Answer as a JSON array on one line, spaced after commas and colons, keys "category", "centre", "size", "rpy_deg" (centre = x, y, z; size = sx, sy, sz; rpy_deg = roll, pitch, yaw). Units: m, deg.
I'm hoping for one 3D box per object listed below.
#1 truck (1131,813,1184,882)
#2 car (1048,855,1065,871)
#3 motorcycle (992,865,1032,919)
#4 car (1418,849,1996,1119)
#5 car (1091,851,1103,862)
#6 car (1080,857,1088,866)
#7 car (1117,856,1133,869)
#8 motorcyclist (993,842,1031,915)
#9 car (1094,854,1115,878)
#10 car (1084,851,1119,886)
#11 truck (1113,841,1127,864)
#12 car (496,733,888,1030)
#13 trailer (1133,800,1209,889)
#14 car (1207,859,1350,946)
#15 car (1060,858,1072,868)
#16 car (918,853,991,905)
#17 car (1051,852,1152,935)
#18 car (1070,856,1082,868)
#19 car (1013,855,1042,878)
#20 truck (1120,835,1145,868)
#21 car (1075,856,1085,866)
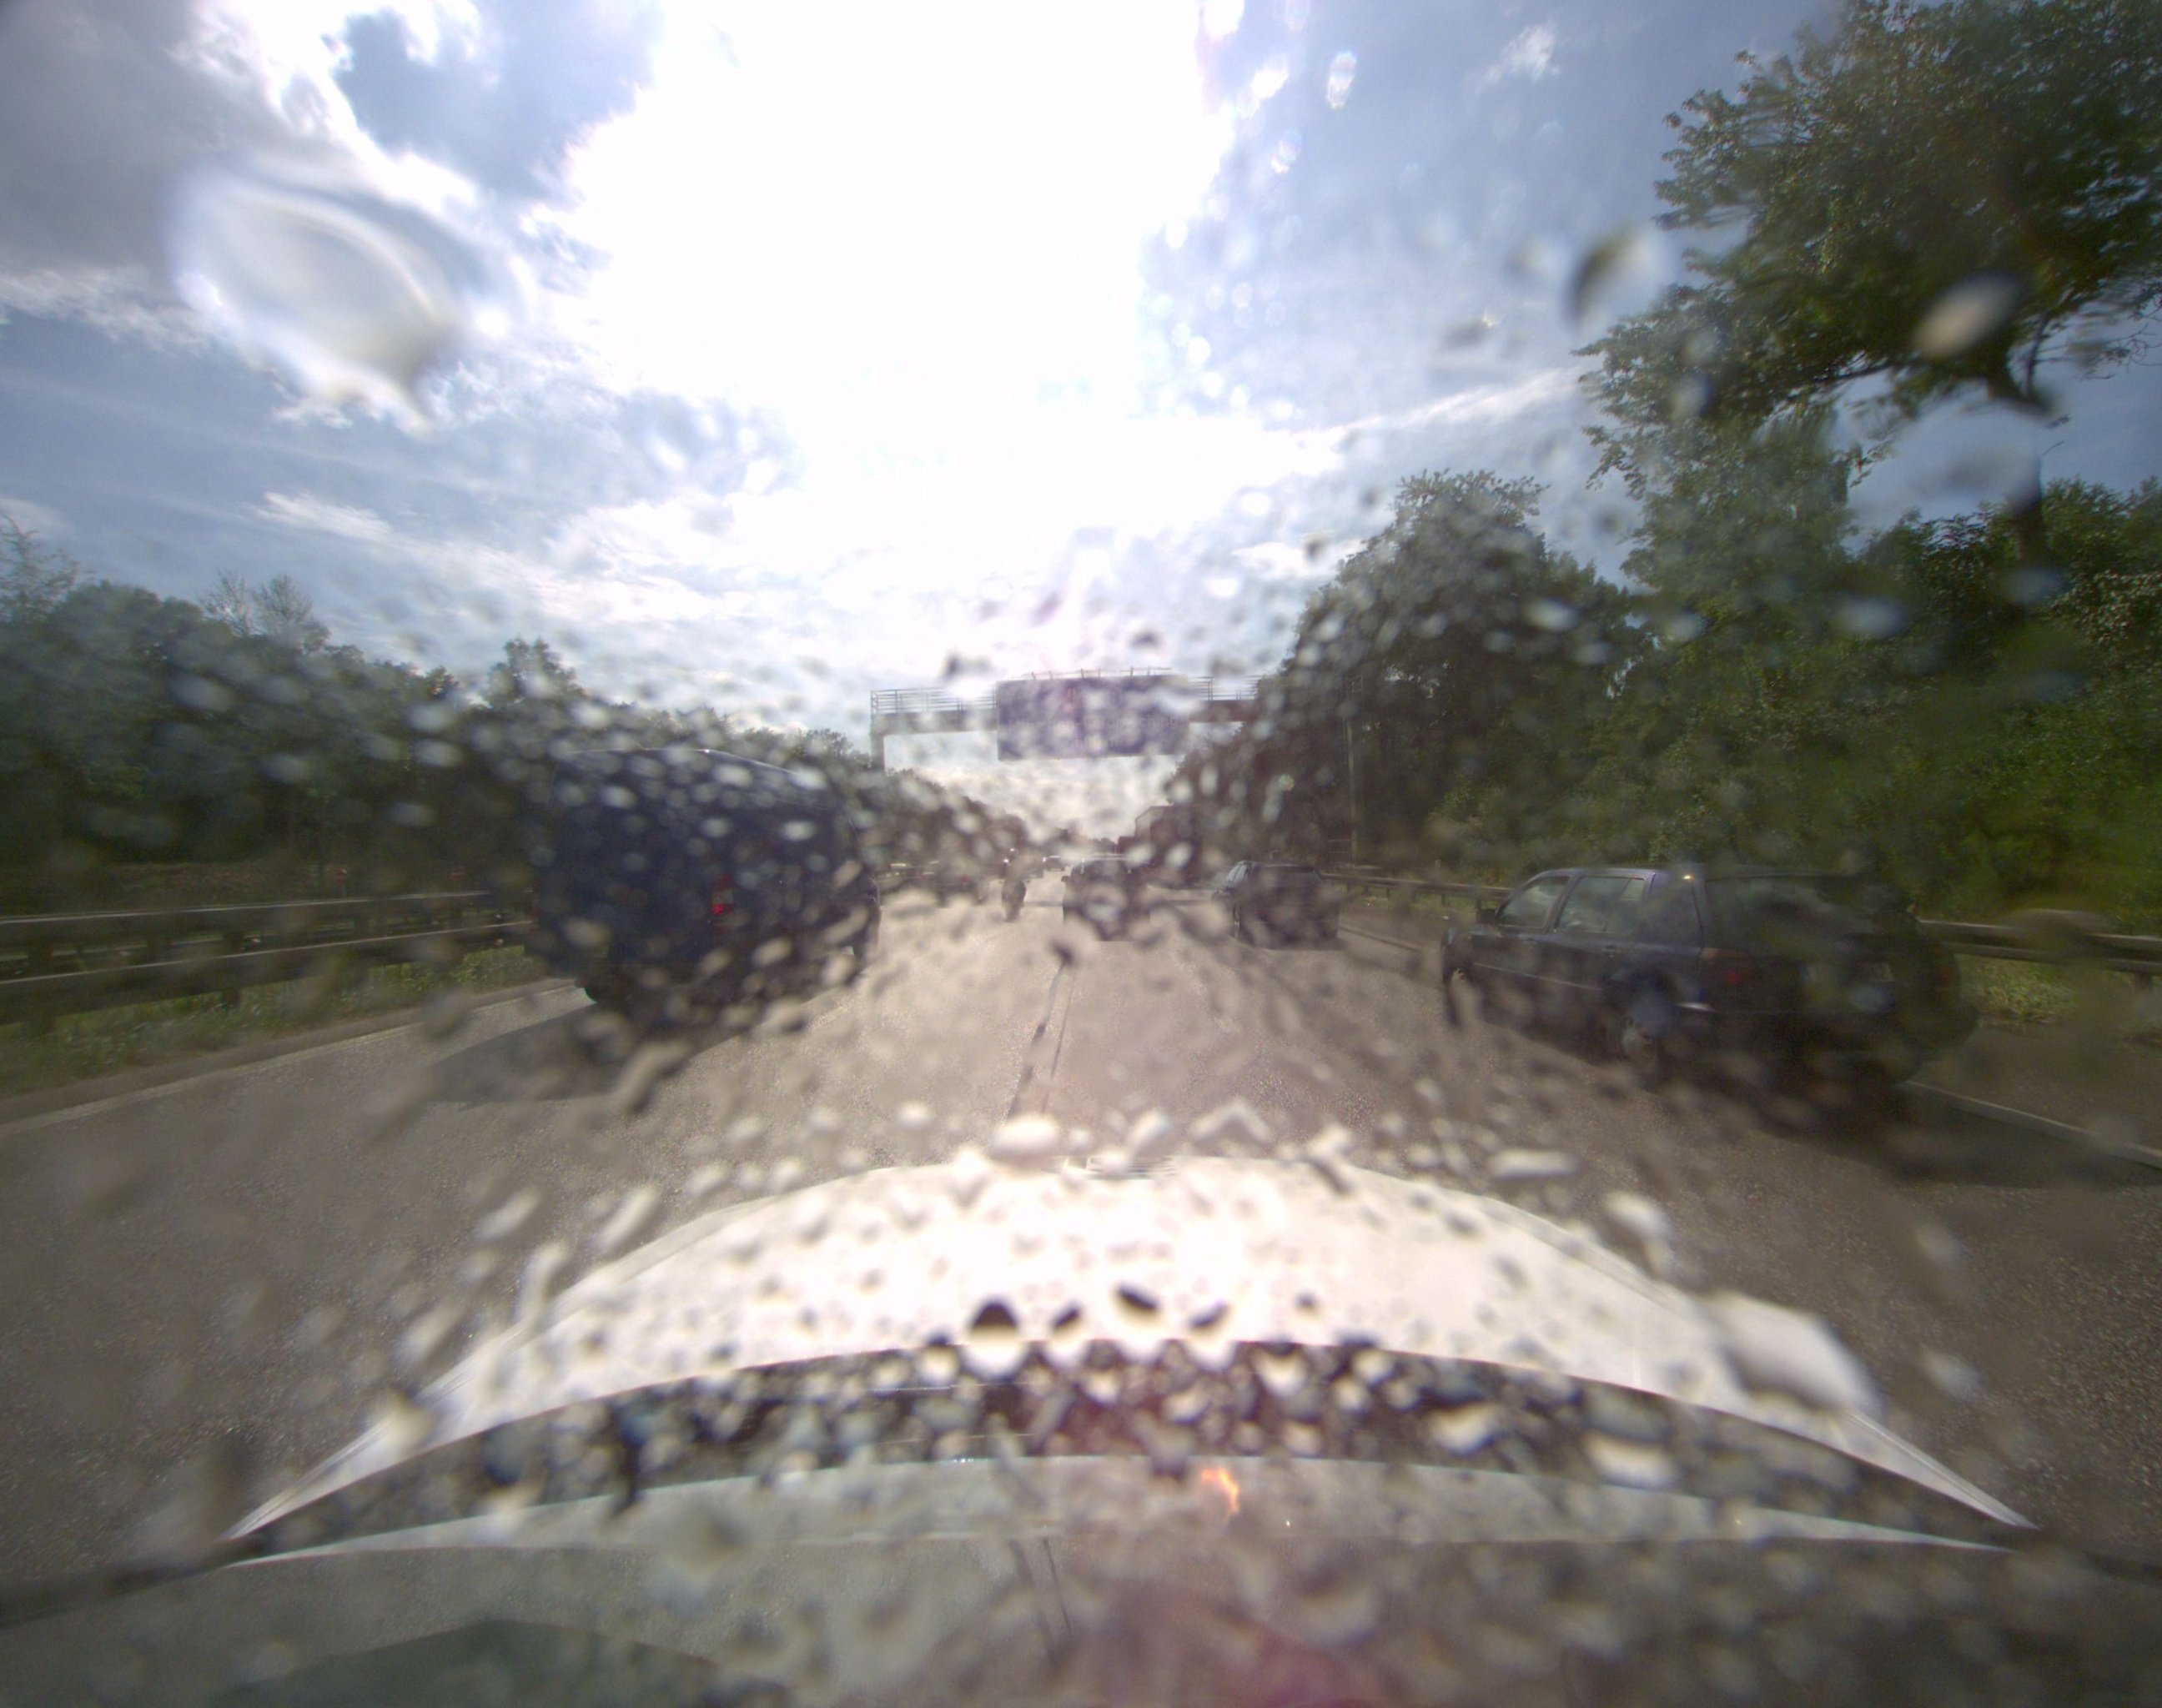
[{"category": "truck", "centre": [5.005, -0.409, 54.223], "size": [3.041, 4.325, 5.886], "rpy_deg": [-1, 0, 1]}, {"category": "car", "centre": [-2.691, 0.970, 89.155], "size": [1.669, 1.597, 3.437], "rpy_deg": [-1, 0, 1]}, {"category": "motorcycle", "centre": [-1.717, 0.918, 20.454], "size": [0.817, 1.263, 2.117], "rpy_deg": [-1, 0, 0]}, {"category": "car", "centre": [4.248, 0.726, 6.384], "size": [1.645, 1.456, 3.744], "rpy_deg": [-1, 0, 0]}, {"category": "car", "centre": [2.302, 0.309, 113.470], "size": [1.626, 1.490, 3.437], "rpy_deg": [-1, 0, 1]}, {"category": "car", "centre": [0.734, 1.750, 192.349], "size": [1.986, 2.014, 4.001], "rpy_deg": [-1, -1, 1]}, {"category": "car", "centre": [5.160, 0.994, 95.522], "size": [1.669, 1.490, 3.437], "rpy_deg": [-1, 0, 1]}, {"category": "motorcyclist", "centre": [-1.713, 0.608, 20.479], "size": [0.819, 1.761, 1.390], "rpy_deg": [-1, -1, 0]}, {"category": "car", "centre": [1.955, 0.951, 68.407], "size": [1.669, 1.936, 3.774], "rpy_deg": [-1, 0, 1]}, {"category": "car", "centre": [1.213, 0.860, 48.703], "size": [1.986, 2.014, 4.000], "rpy_deg": [-1, -1, 1]}, {"category": "truck", "centre": [8.599, -0.243, 179.685], "size": [2.871, 4.687, 12.662], "rpy_deg": [-1, -1, 2]}, {"category": "car", "centre": [-4.208, 0.254, 10.249], "size": [2.008, 2.648, 5.778], "rpy_deg": [-1, 0, 1]}, {"category": "trailer", "centre": [4.848, -0.439, 46.920], "size": [3.077, 4.312, 14.108], "rpy_deg": [-1, 0, 1]}, {"category": "car", "centre": [3.598, 0.820, 15.607], "size": [1.748, 1.396, 4.369], "rpy_deg": [-1, 0, 1]}, {"category": "car", "centre": [-2.241, 1.364, 121.486], "size": [1.669, 1.490, 3.437], "rpy_deg": [-1, 0, 1]}, {"category": "car", "centre": [-4.211, 0.797, 27.816], "size": [1.752, 1.595, 4.331], "rpy_deg": [-1, 0, 1]}, {"category": "car", "centre": [0.445, 0.767, 17.861], "size": [1.908, 1.565, 4.315], "rpy_deg": [-1, 0, 1]}, {"category": "car", "centre": [-0.842, 1.437, 146.676], "size": [1.986, 2.014, 4.001], "rpy_deg": [-1, -1, 1]}, {"category": "car", "centre": [-3.916, 0.893, 60.089], "size": [1.887, 1.628, 4.193], "rpy_deg": [-1, 0, -1]}, {"category": "truck", "centre": [7.062, -0.311, 113.129], "size": [3.190, 4.404, 9.436], "rpy_deg": [-1, 0, 2]}, {"category": "car", "centre": [-0.242, 1.385, 169.751], "size": [1.986, 2.014, 4.001], "rpy_deg": [-1, -1, 1]}]
